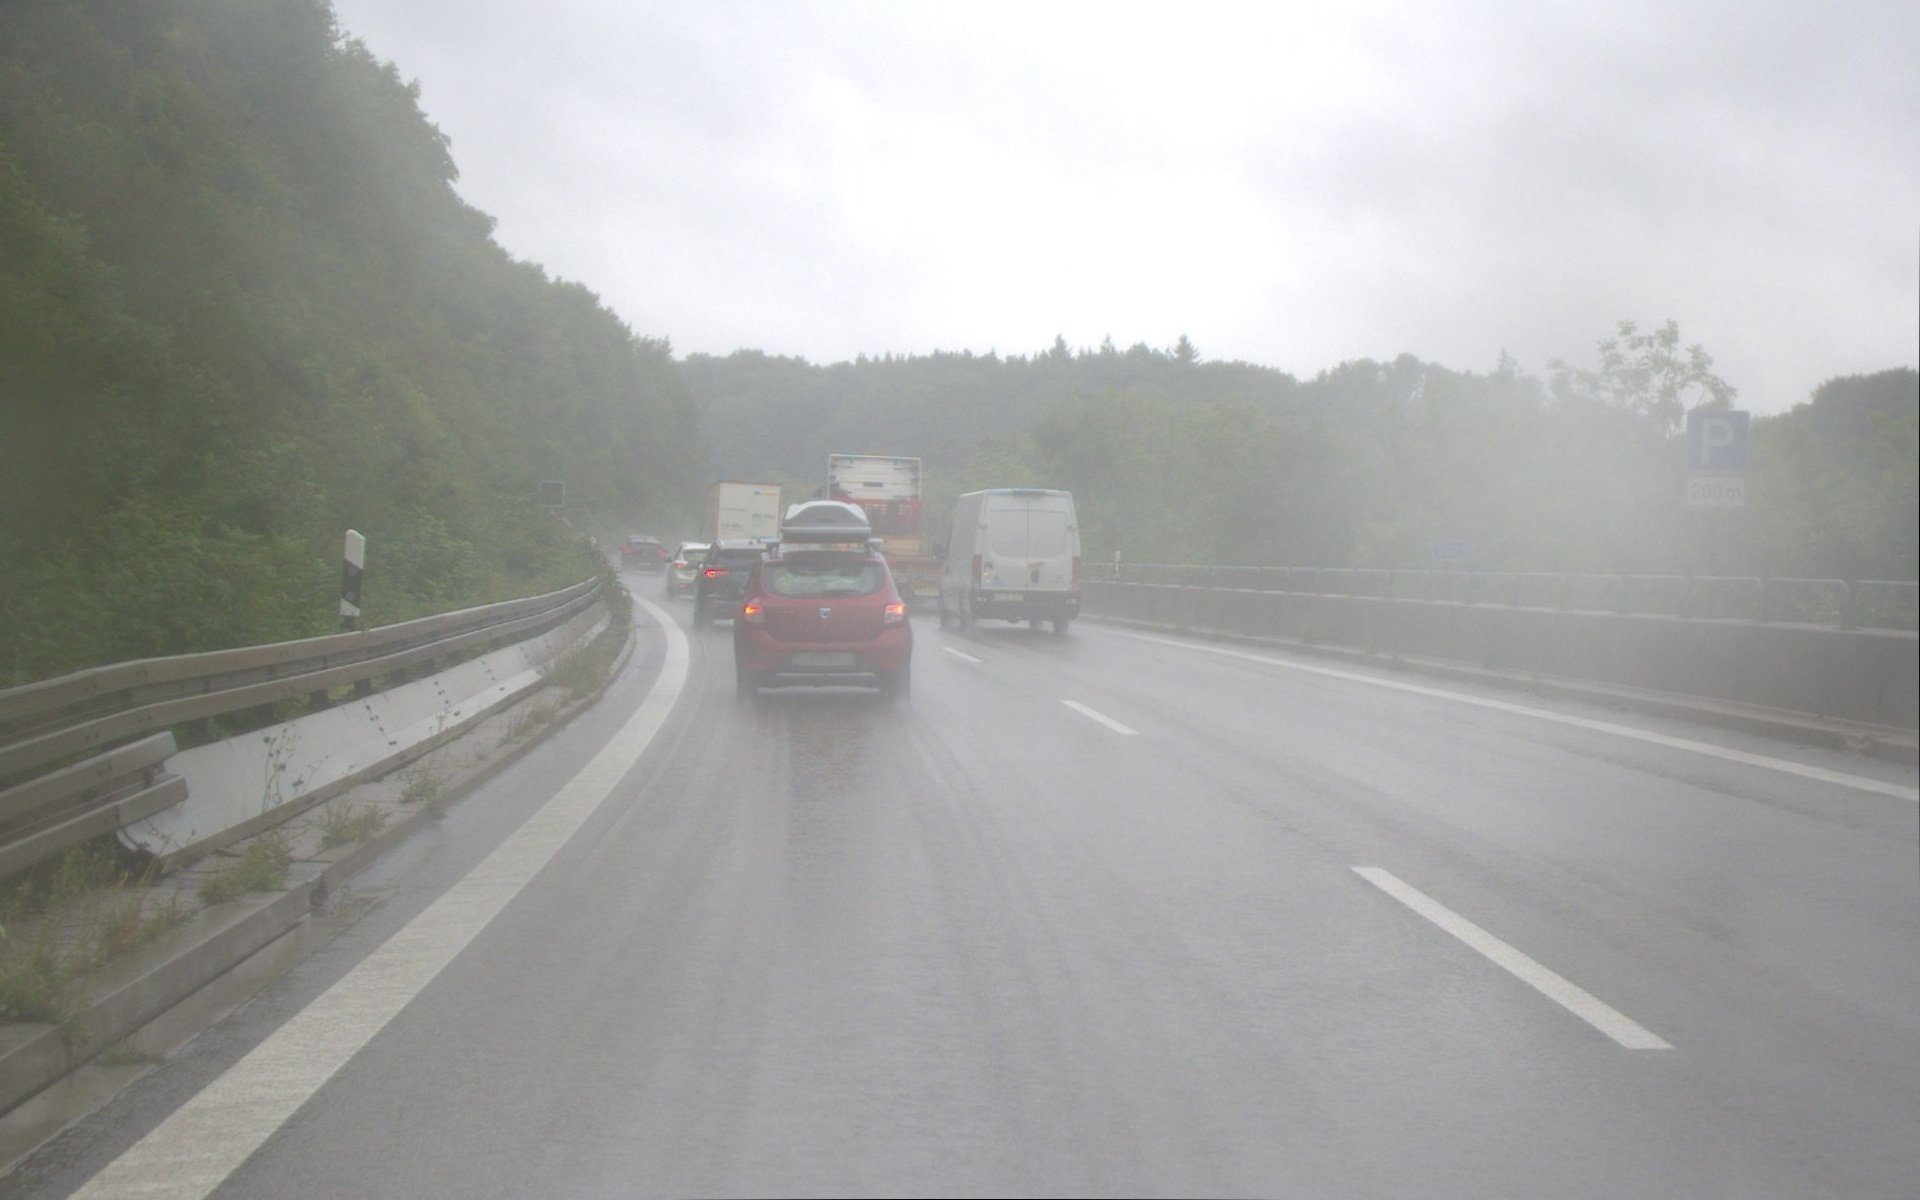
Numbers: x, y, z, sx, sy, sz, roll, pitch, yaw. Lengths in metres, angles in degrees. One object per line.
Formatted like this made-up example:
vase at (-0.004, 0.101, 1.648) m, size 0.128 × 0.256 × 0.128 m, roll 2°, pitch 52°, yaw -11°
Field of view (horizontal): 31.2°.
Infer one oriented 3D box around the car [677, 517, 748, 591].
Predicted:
car at (-6.292, -1.158, 87.205) m, size 1.716 × 1.811 × 3.893 m, roll 0°, pitch 0°, yaw -5°

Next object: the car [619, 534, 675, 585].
car at (-12.655, -1.634, 139.193) m, size 1.993 × 2.007 × 4.000 m, roll 0°, pitch 0°, yaw -2°

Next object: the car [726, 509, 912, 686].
car at (-1.473, -0.039, 34.688) m, size 1.758 × 1.679 × 4.001 m, roll 0°, pitch 0°, yaw -4°

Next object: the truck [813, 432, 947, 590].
truck at (-2.190, -2.335, 91.709) m, size 3.219 × 3.964 × 5.439 m, roll 3°, pitch 1°, yaw -3°

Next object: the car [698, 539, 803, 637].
car at (-3.778, -0.229, 61.918) m, size 1.823 × 1.690 × 4.001 m, roll 0°, pitch 0°, yaw -4°

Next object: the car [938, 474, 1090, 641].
car at (0.923, -0.795, 63.824) m, size 2.206 × 2.784 × 7.383 m, roll 4°, pitch 1°, yaw -2°

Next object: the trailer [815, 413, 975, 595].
trailer at (-1.752, -2.262, 84.735) m, size 3.218 × 3.985 × 13.526 m, roll 3°, pitch 1°, yaw -3°

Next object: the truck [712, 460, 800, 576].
truck at (-8.495, -3.336, 142.333) m, size 3.222 × 4.666 × 8.301 m, roll 0°, pitch 0°, yaw -6°
